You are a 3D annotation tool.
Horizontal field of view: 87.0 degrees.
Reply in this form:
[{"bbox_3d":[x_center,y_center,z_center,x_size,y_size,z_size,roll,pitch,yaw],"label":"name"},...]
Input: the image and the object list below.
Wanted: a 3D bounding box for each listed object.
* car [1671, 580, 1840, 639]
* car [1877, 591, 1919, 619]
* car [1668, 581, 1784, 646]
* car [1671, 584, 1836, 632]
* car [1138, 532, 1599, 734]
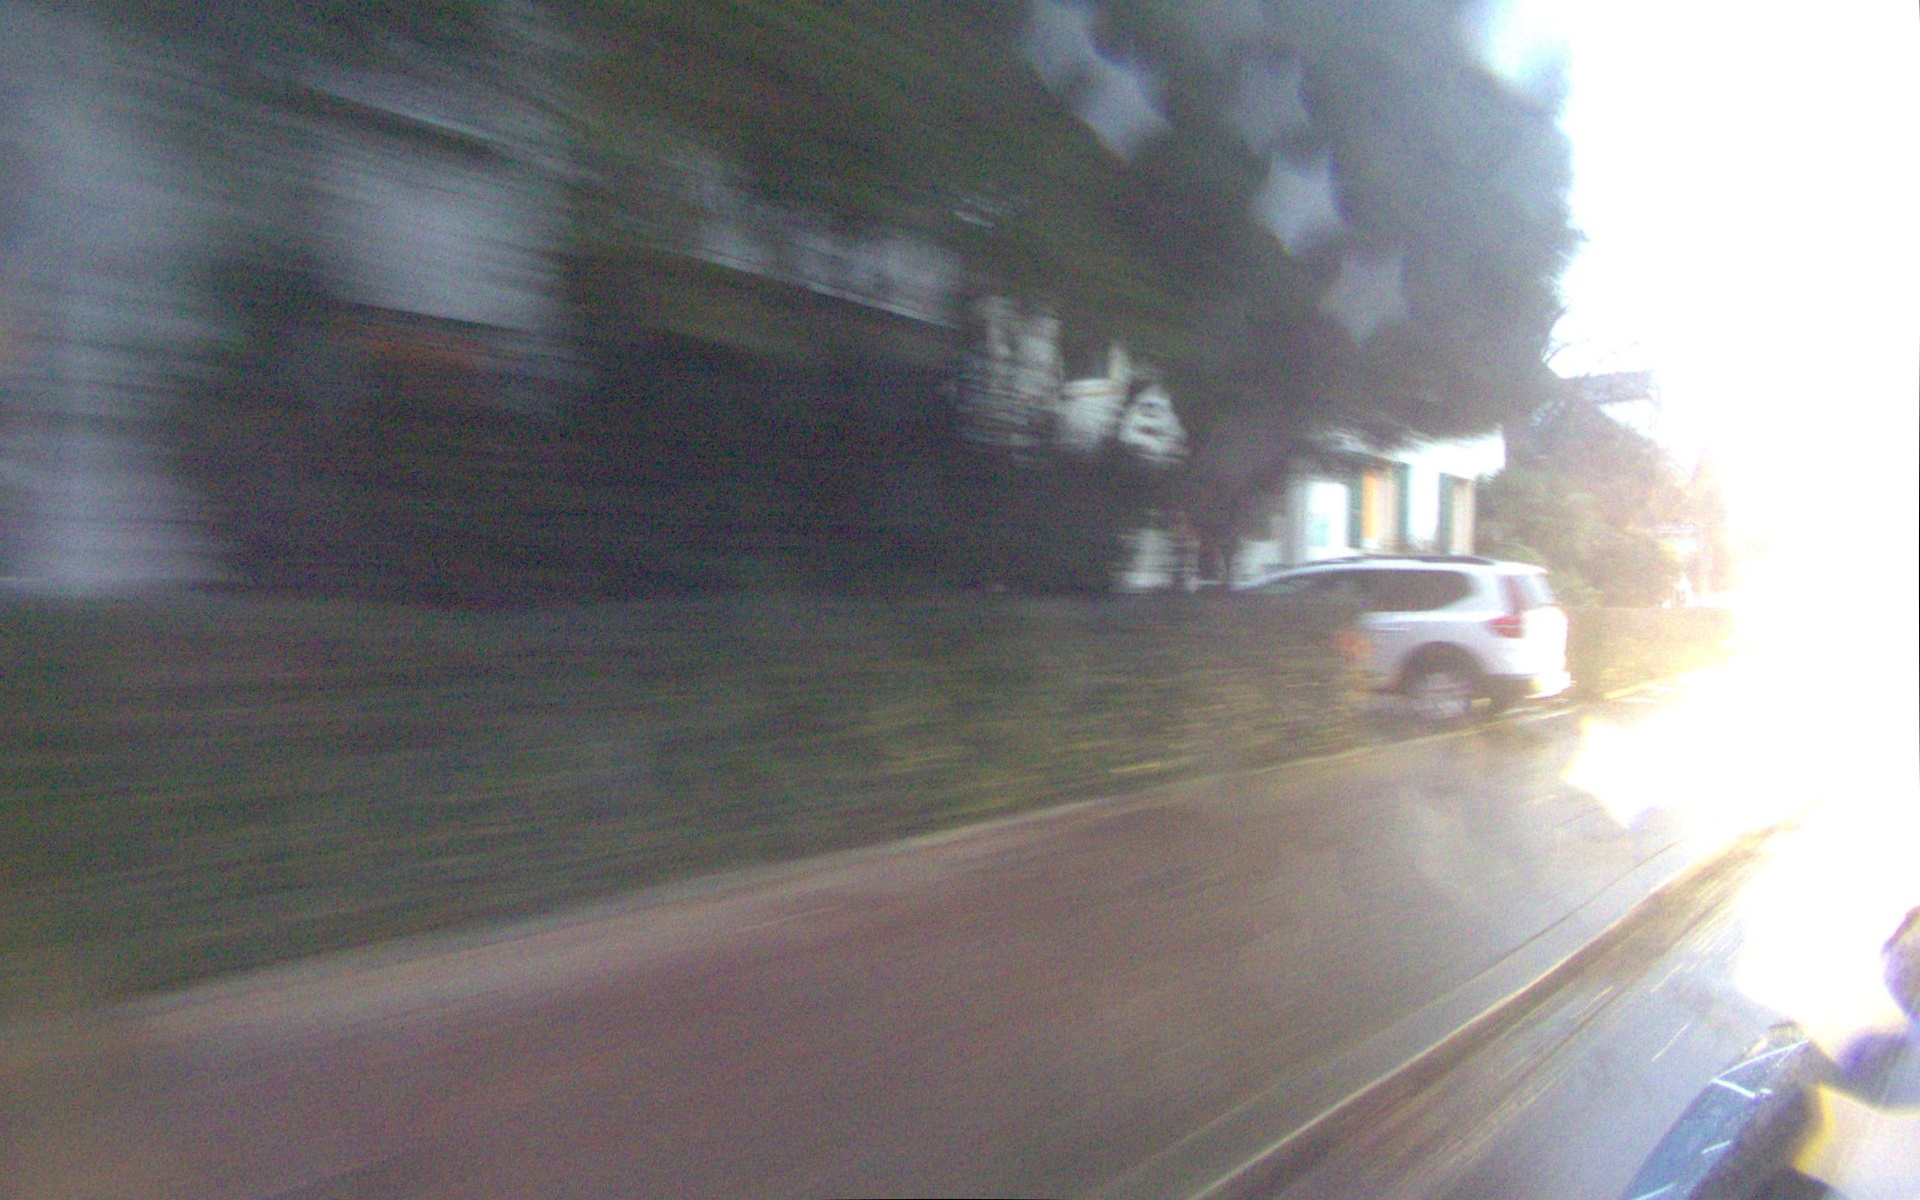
[{"bbox_3d":[25.142,0.243,32.060,4.100,1.727,1.970,1,2,43],"label":"car"},{"bbox_3d":[58.382,0.278,62.837,1.767,1.638,3.820,0,1,38],"label":"car"},{"bbox_3d":[20.720,0.315,27.288,1.894,1.574,4.679,1,1,45],"label":"car"},{"bbox_3d":[30.095,0.234,38.482,1.876,1.650,4.738,-1,2,-44],"label":"car"},{"bbox_3d":[4.387,0.193,11.321,4.324,1.753,1.969,5,3,44],"label":"car"}]
